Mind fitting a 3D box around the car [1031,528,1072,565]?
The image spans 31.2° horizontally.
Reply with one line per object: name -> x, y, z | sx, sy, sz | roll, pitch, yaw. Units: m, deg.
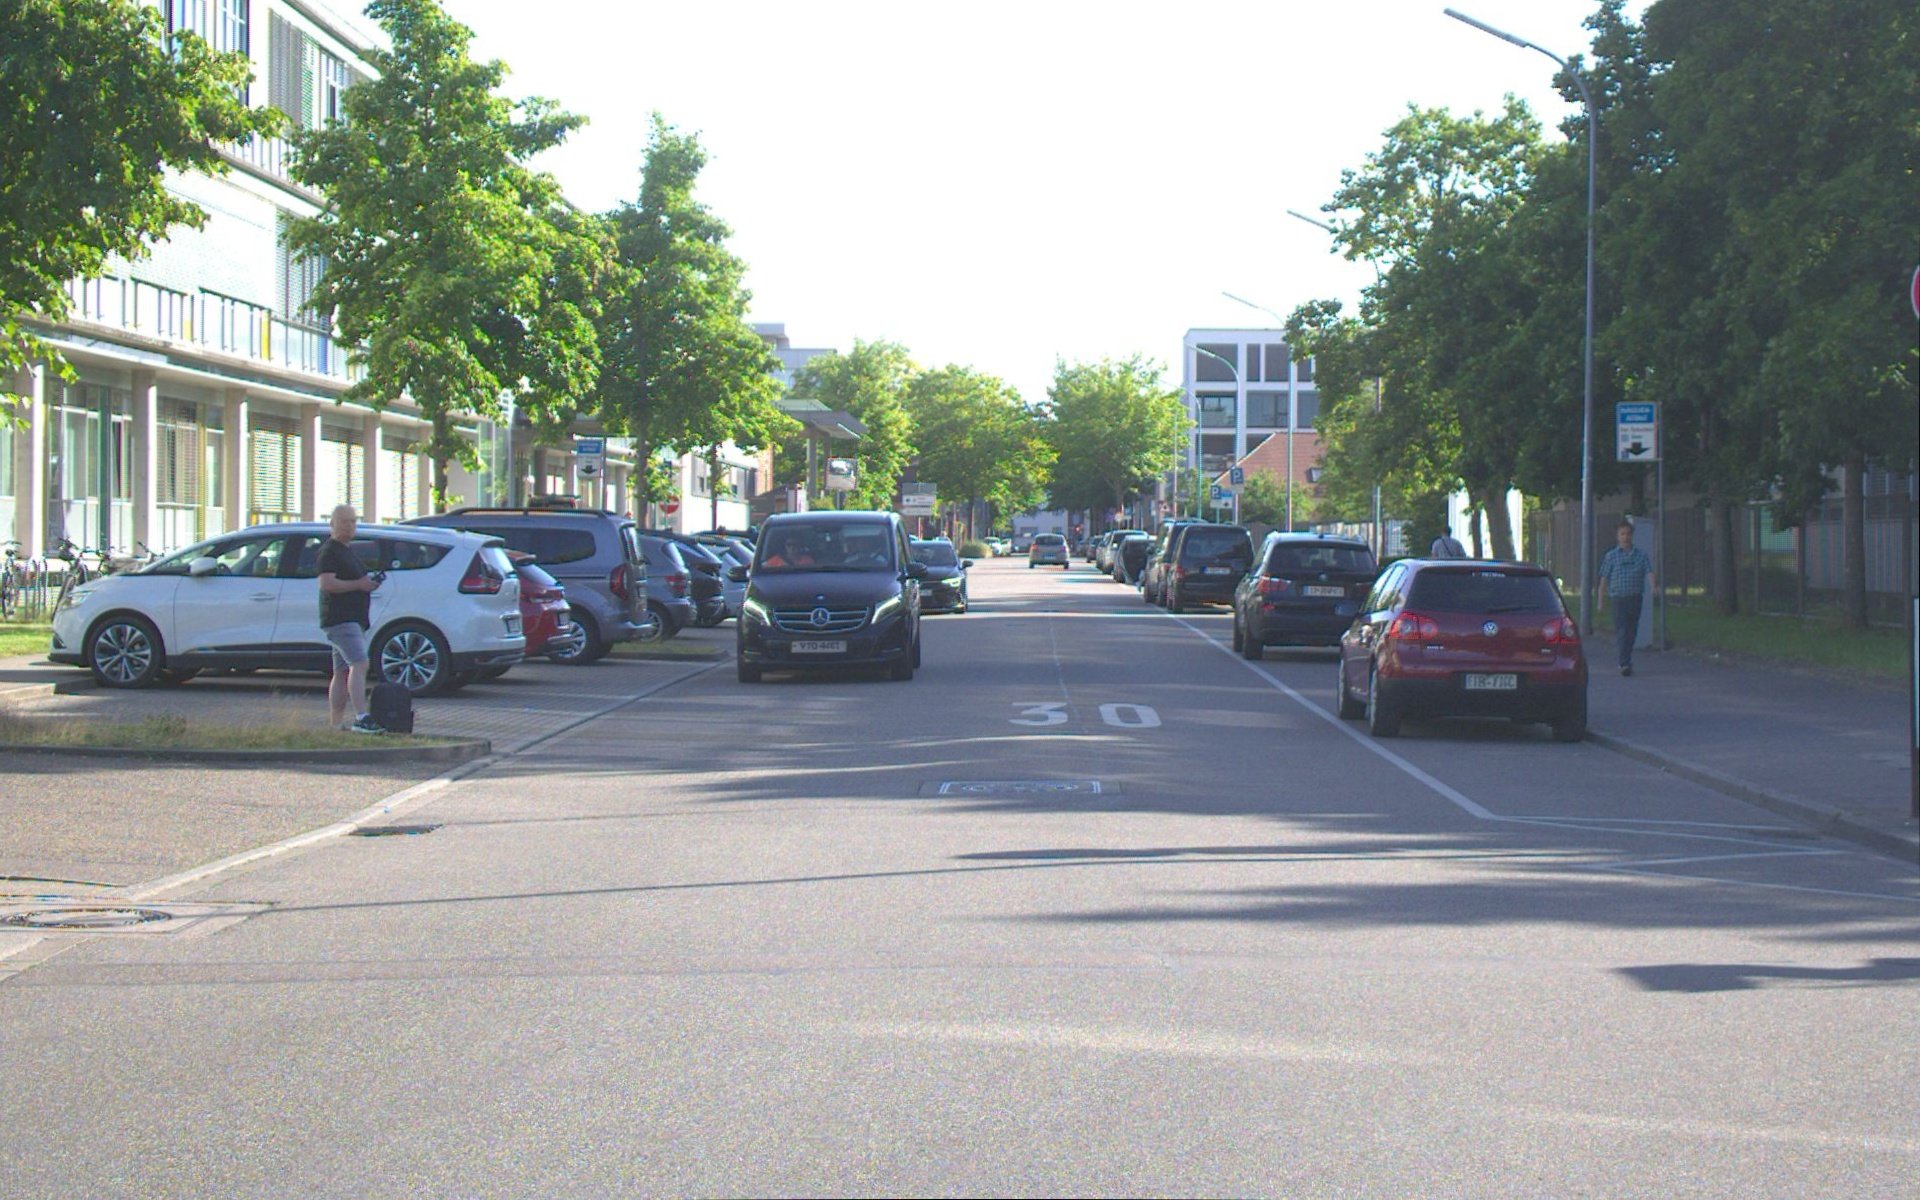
car -> 3.913, -2.322, 147.578 | 1.743, 1.538, 4.000 | 1, 1, 1

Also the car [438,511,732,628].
car -> -5.618, -0.477, 51.999 | 4.246, 1.606, 2.048 | 2, 1, -2

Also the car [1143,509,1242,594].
car -> 5.165, -1.099, 76.819 | 1.993, 1.816, 4.199 | -1, 1, 1

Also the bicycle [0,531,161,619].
bicycle -> -12.030, -0.338, 47.059 | 0.870, 1.149, 2.370 | 2, 1, 22

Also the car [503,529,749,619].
car -> -5.587, -0.447, 57.851 | 3.986, 1.354, 1.743 | 2, 1, -2

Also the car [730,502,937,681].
car -> -1.364, -0.149, 39.205 | 1.955, 1.861, 5.255 | -1, 1, 2

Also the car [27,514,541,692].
car -> -6.589, 0.013, 33.794 | 4.612, 1.645, 1.867 | 1, 1, 5

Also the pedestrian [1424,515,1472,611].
pedestrian -> 8.621, -0.653, 60.765 | 0.698, 1.655, 0.752 | -2, 1, 1

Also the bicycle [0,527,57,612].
bicycle -> -13.392, -0.432, 47.682 | 0.869, 1.149, 1.991 | 2, 1, 11

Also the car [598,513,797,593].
car -> -5.675, -1.031, 74.788 | 4.213, 1.597, 1.872 | 2, 1, -2

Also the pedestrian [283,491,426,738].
pedestrian -> -4.639, 0.102, 26.385 | 0.858, 1.836, 0.825 | 2, 1, 3

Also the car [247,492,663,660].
car -> -6.131, -0.311, 42.062 | 4.742, 1.858, 1.827 | 2, 1, 2

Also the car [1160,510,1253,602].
car -> 5.037, -0.923, 70.581 | 1.733, 1.824, 3.905 | 0, 1, 2

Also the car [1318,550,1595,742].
car -> 4.183, 0.331, 29.603 | 1.720, 1.450, 4.652 | 1, 1, 1

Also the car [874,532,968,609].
car -> -0.749, -0.609, 68.636 | 1.703, 1.446, 4.086 | -1, 1, 1

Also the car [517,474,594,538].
car -> -13.375, -3.103, 113.795 | 1.993, 2.007, 4.000 | 1, 0, 1

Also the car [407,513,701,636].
car -> -5.755, -0.374, 49.049 | 3.986, 1.601, 1.872 | 2, 1, -2

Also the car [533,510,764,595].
car -> -5.838, -0.909, 64.807 | 4.213, 1.457, 1.872 | 2, 1, -2

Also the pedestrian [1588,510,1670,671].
pedestrian -> 7.457, -0.120, 38.327 | 0.717, 1.752, 0.885 | -2, 1, 2

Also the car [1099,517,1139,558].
car -> 6.079, -2.414, 131.683 | 1.436, 1.555, 3.042 | 0, 1, 1

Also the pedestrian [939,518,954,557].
pedestrian -> -0.580, -2.653, 146.014 | 0.618, 1.618, 0.716 | -1, 1, 1

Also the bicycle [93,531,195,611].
bicycle -> -12.059, -0.441, 50.850 | 0.892, 1.107, 1.889 | 2, 2, 5

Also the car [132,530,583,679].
car -> -6.346, 0.027, 36.539 | 4.434, 1.496, 1.827 | 1, 1, 2

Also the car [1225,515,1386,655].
car -> 4.531, -0.247, 45.632 | 1.812, 1.660, 4.592 | 2, 2, 2

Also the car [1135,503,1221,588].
car -> 5.251, -1.336, 83.063 | 1.874, 1.971, 4.000 | -1, 1, 1
